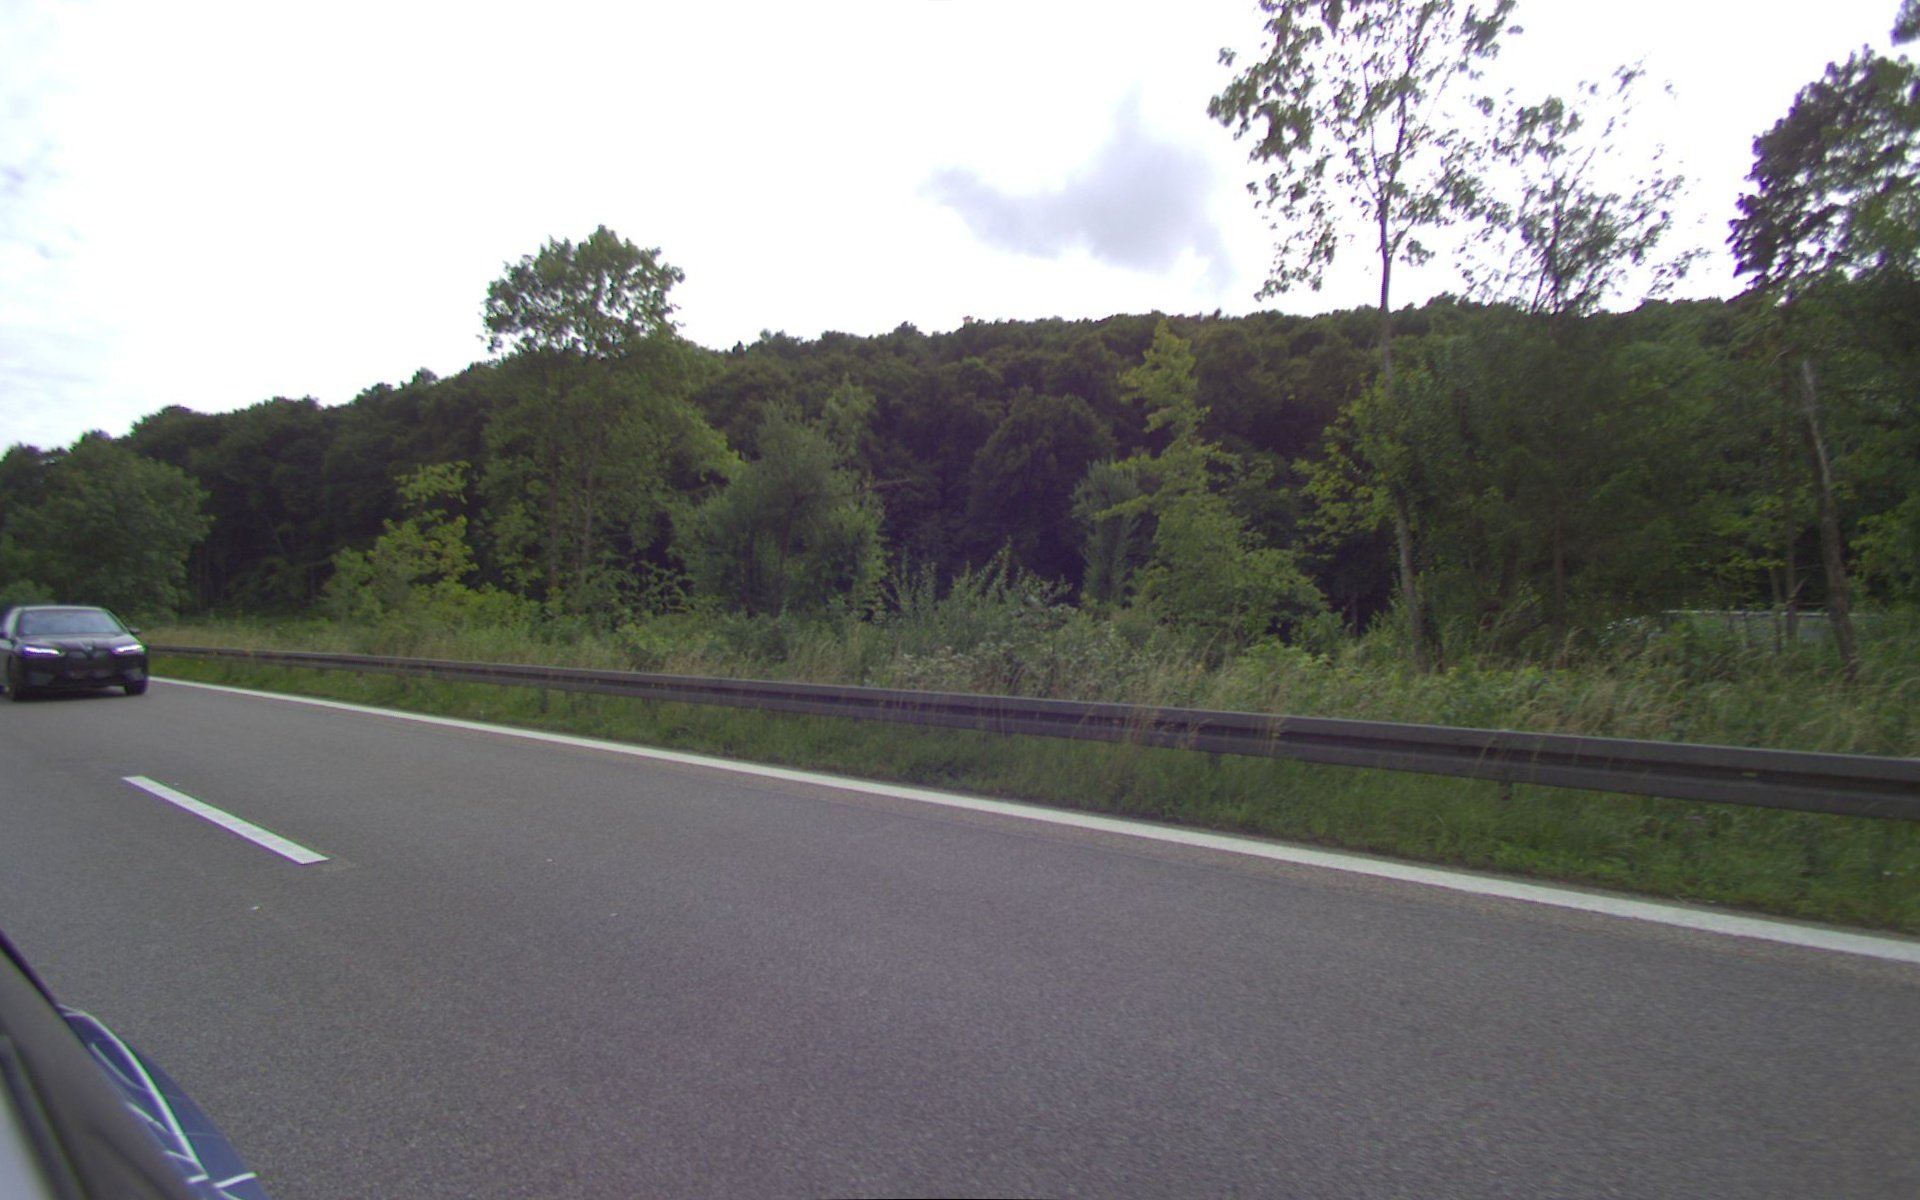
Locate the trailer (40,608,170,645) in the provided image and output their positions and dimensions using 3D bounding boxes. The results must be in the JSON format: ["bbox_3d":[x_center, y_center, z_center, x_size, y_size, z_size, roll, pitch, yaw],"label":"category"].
[{"bbox_3d":[-77.640,2.444,91.805,13.722,3.244,3.138,-1,-1,23],"label":"trailer"}]

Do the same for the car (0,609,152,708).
[{"bbox_3d":[-17.318,1.031,19.351,4.409,1.678,1.974,-1,-1,38],"label":"car"}]
